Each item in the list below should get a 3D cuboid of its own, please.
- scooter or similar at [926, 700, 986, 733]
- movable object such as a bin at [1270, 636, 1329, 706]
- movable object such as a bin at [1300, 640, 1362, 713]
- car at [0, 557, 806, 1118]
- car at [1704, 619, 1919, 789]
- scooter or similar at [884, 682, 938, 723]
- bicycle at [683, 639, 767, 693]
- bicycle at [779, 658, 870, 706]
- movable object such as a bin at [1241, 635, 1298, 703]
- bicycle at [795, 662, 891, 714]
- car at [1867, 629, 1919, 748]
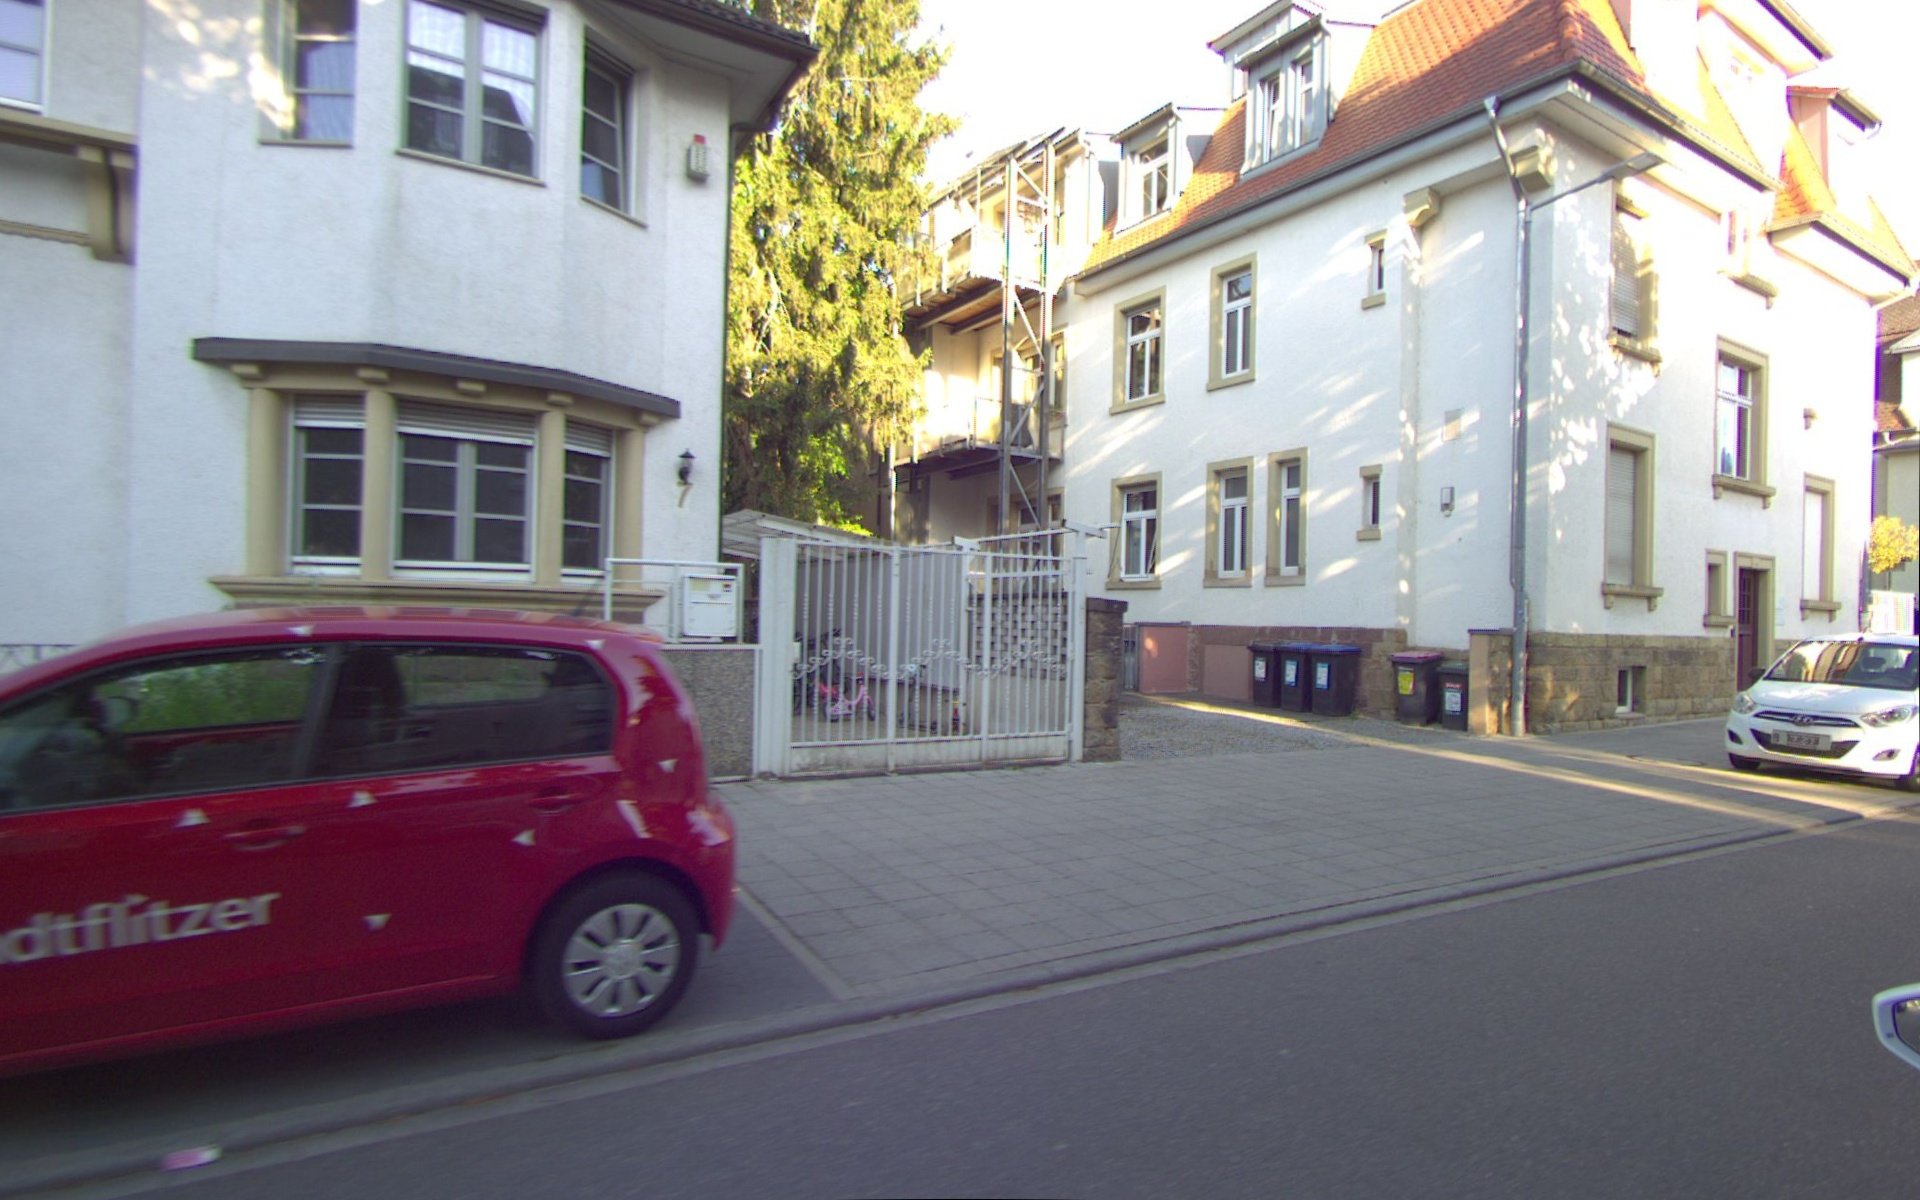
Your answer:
[{"bbox_3d":[-0.052,1.357,11.780,0.289,0.280,0.923,2,-1,-30],"label":"scooter or similar"},{"bbox_3d":[5.434,1.131,16.086,0.656,1.062,0.580,1,1,-29],"label":"movable object such as a bin"},{"bbox_3d":[5.740,1.175,15.560,0.656,1.062,0.580,1,1,-29],"label":"movable object such as a bin"},{"bbox_3d":[-2.476,0.646,3.705,3.387,1.502,1.643,2,1,-29],"label":"car"},{"bbox_3d":[10.037,1.058,11.153,3.665,1.541,1.573,2,1,-32],"label":"car"},{"bbox_3d":[-0.630,1.286,12.725,0.289,0.433,0.923,2,-1,-30],"label":"scooter or similar"},{"bbox_3d":[-3.906,1.089,16.713,1.284,0.848,0.431,2,0,-30],"label":"bicycle"},{"bbox_3d":[-1.896,1.138,14.103,1.183,0.629,0.431,2,-1,-30],"label":"bicycle"},{"bbox_3d":[5.115,1.124,16.616,0.656,1.062,0.580,1,1,-29],"label":"movable object such as a bin"},{"bbox_3d":[-1.535,1.145,13.252,1.183,0.629,0.431,2,-1,-30],"label":"bicycle"},{"bbox_3d":[13.965,1.208,13.666,3.669,1.496,1.571,2,1,-34],"label":"car"}]
